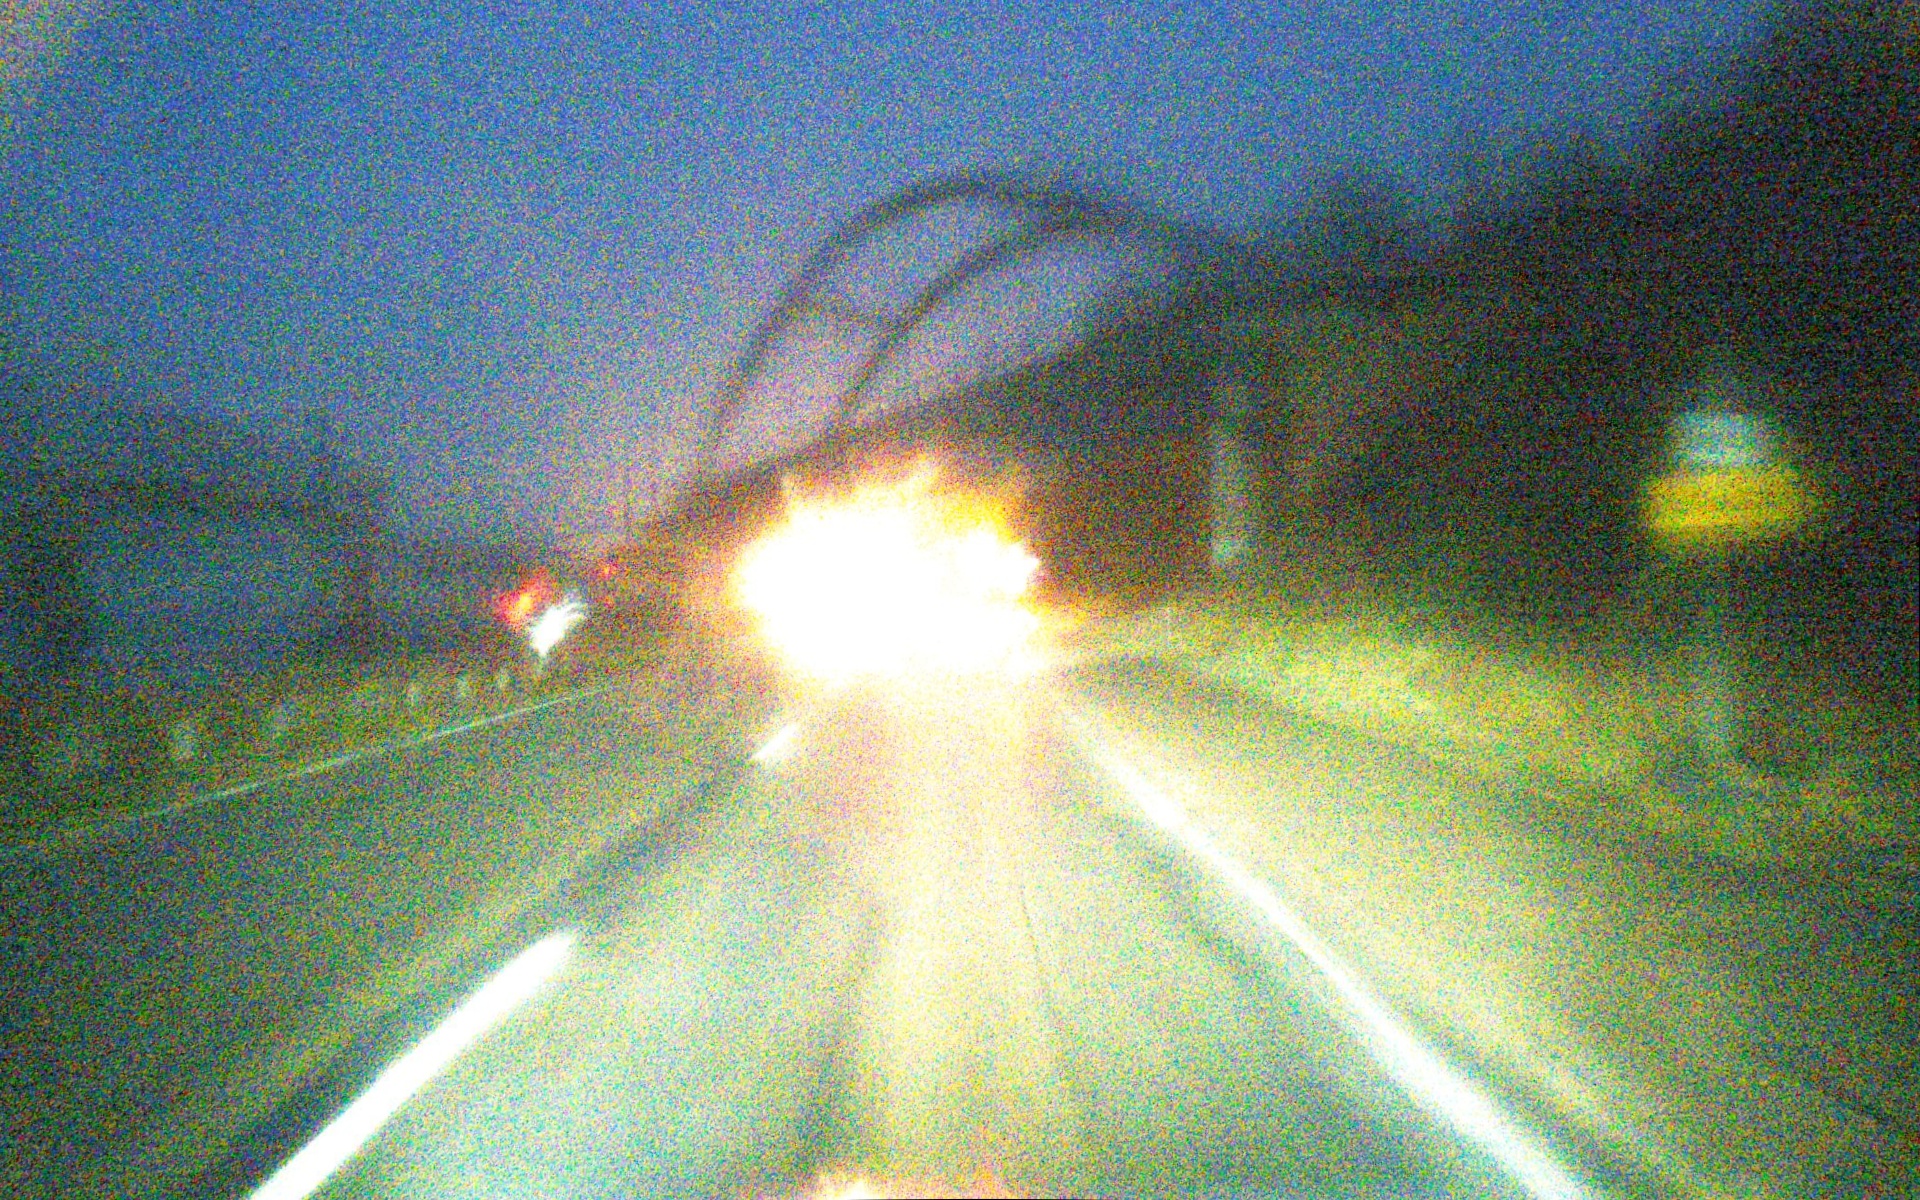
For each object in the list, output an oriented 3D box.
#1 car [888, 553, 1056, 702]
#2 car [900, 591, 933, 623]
[{"bbox_3d":[0.115,0.442,29.414,2.660,2.348,6.098,1,0,-2],"label":"car"},{"bbox_3d":[-2.807,0.463,106.559,1.954,1.948,3.997,1,-1,-3],"label":"car"}]
